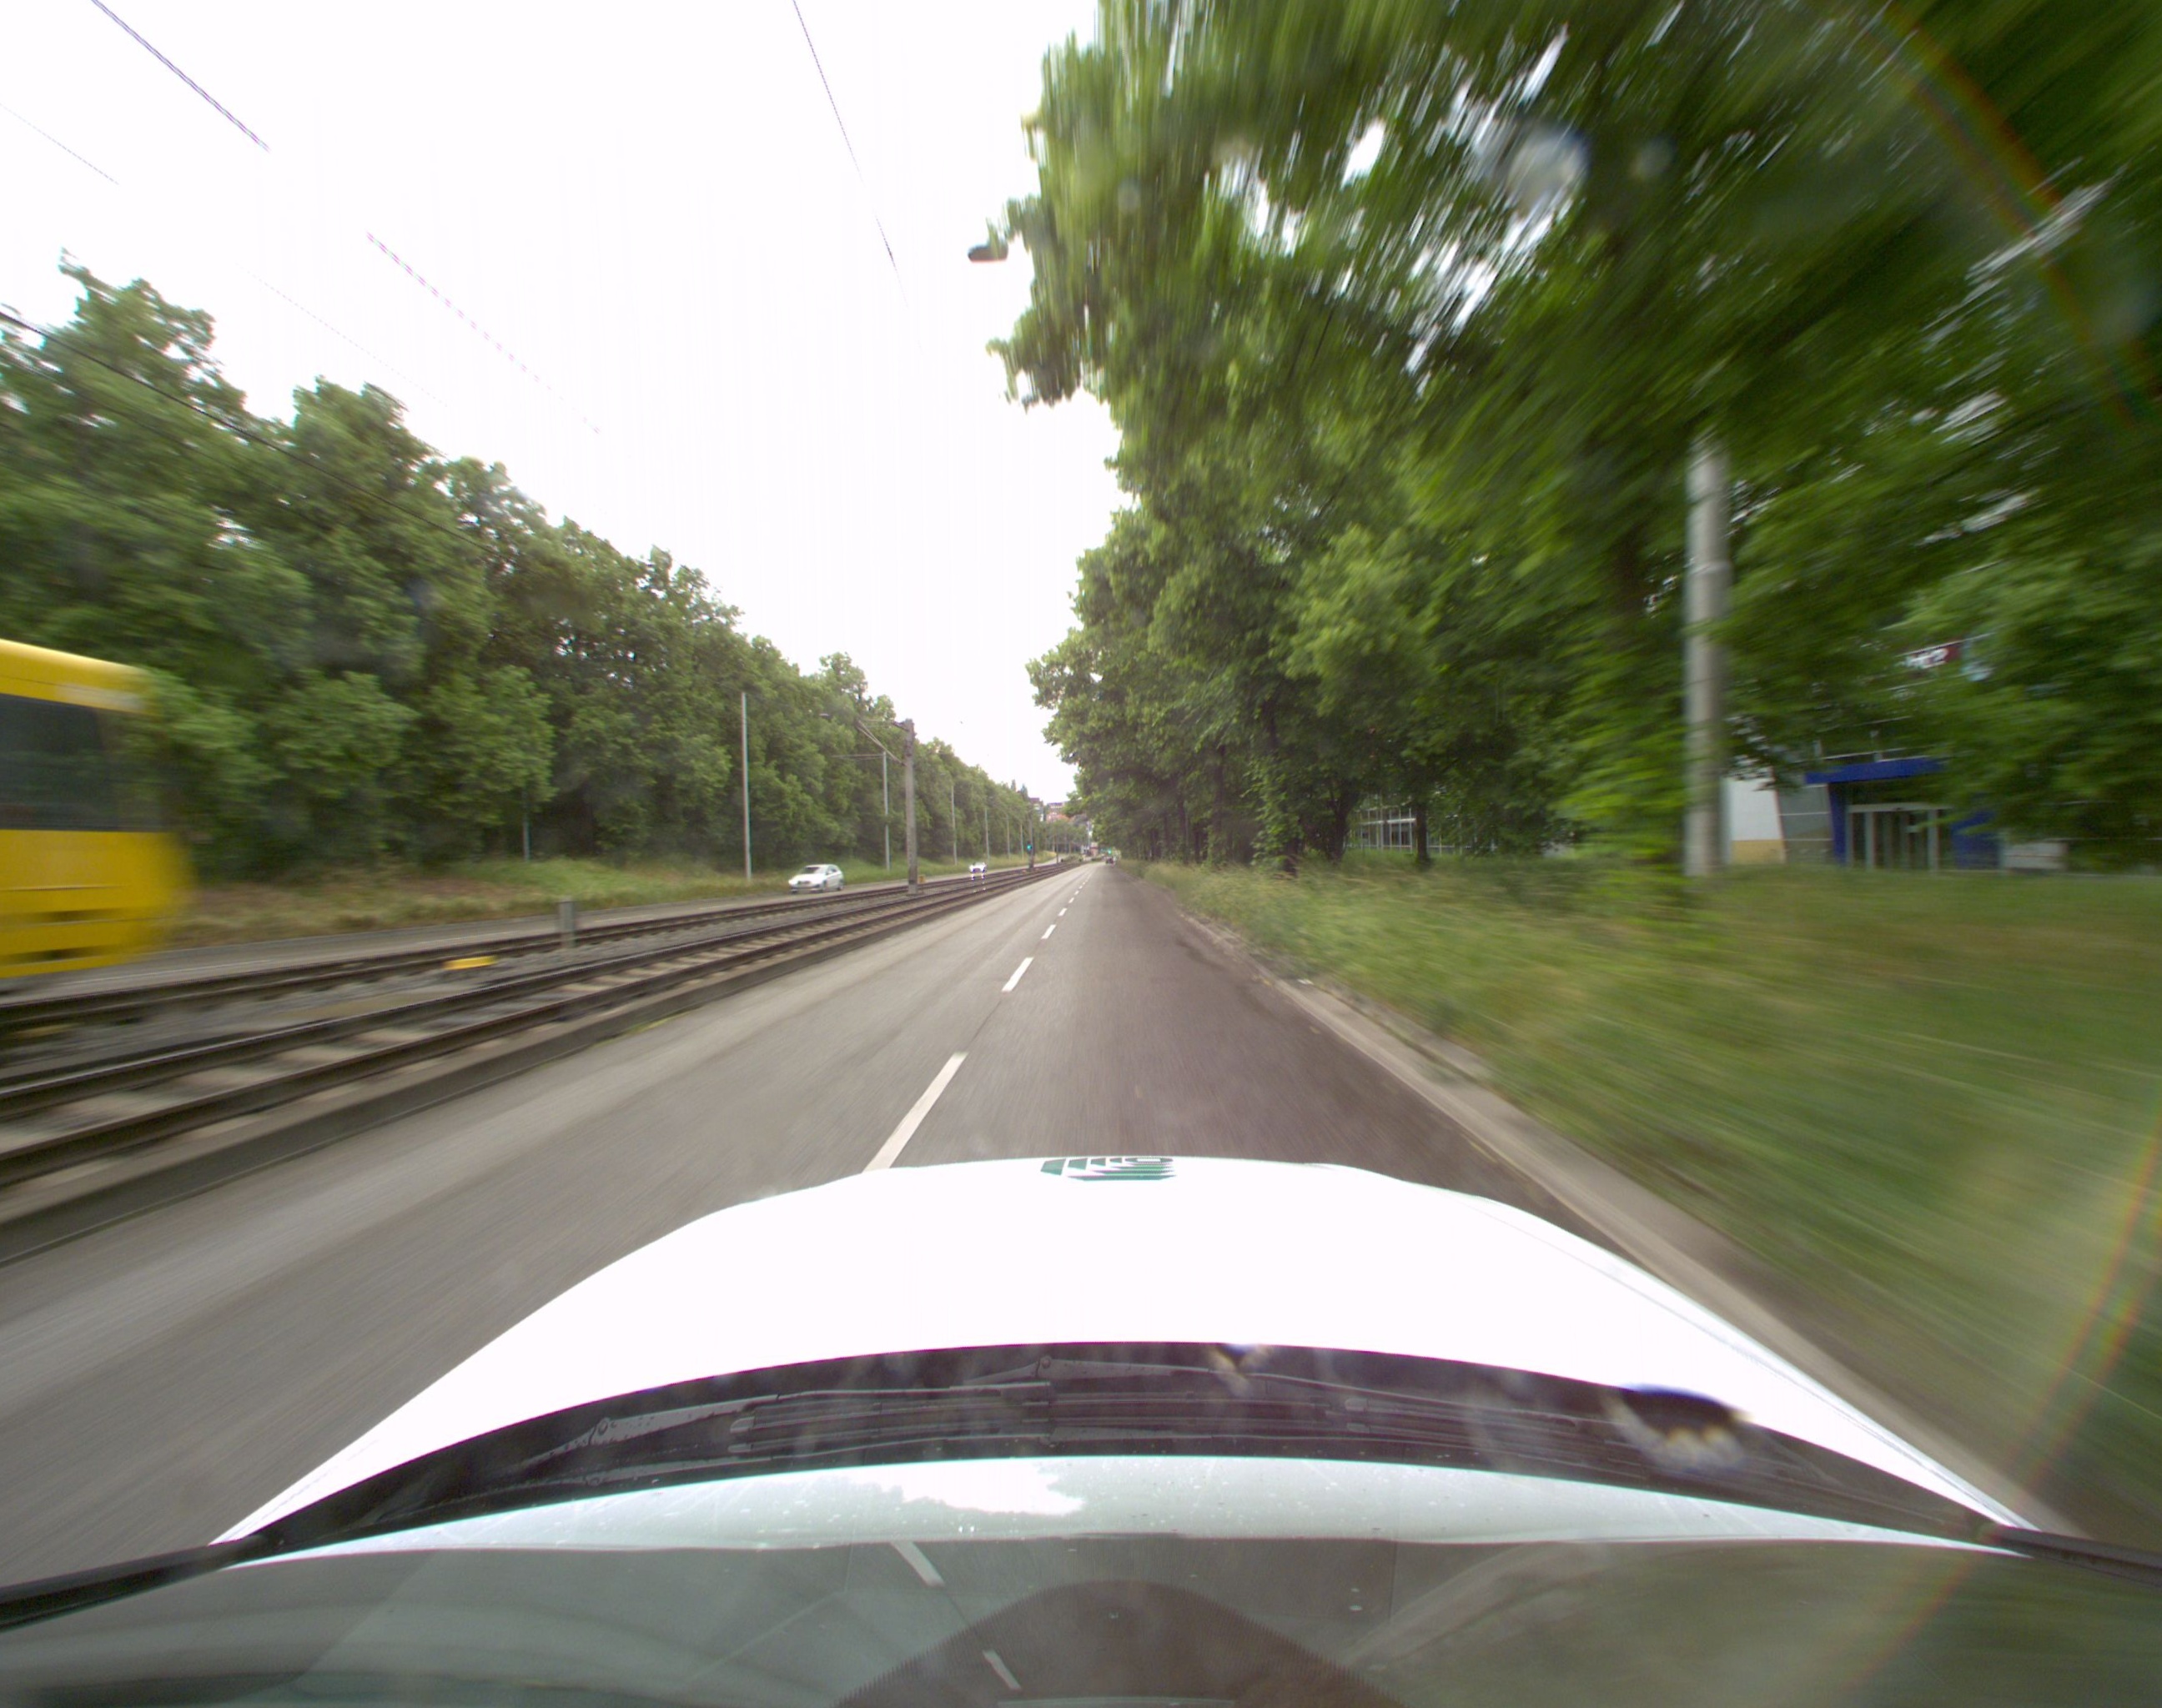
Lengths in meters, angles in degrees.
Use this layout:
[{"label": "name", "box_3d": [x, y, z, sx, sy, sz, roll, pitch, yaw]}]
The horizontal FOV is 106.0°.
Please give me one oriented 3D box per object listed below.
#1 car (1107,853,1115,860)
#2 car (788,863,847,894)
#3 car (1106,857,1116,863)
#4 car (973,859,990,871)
[{"label": "car", "box_3d": [7.589, 0.634, 206.607, 1.986, 1.651, 4.002, -1, 0, 2]}, {"label": "car", "box_3d": [-14.604, 1.331, 45.420, 1.646, 1.529, 4.383, -2, 0, 2]}, {"label": "car", "box_3d": [6.865, 1.370, 184.240, 2.186, 1.329, 4.001, -1, 1, 1]}, {"label": "car", "box_3d": [-12.716, 1.429, 103.928, 1.470, 1.436, 3.911, -3, 0, 2]}]
